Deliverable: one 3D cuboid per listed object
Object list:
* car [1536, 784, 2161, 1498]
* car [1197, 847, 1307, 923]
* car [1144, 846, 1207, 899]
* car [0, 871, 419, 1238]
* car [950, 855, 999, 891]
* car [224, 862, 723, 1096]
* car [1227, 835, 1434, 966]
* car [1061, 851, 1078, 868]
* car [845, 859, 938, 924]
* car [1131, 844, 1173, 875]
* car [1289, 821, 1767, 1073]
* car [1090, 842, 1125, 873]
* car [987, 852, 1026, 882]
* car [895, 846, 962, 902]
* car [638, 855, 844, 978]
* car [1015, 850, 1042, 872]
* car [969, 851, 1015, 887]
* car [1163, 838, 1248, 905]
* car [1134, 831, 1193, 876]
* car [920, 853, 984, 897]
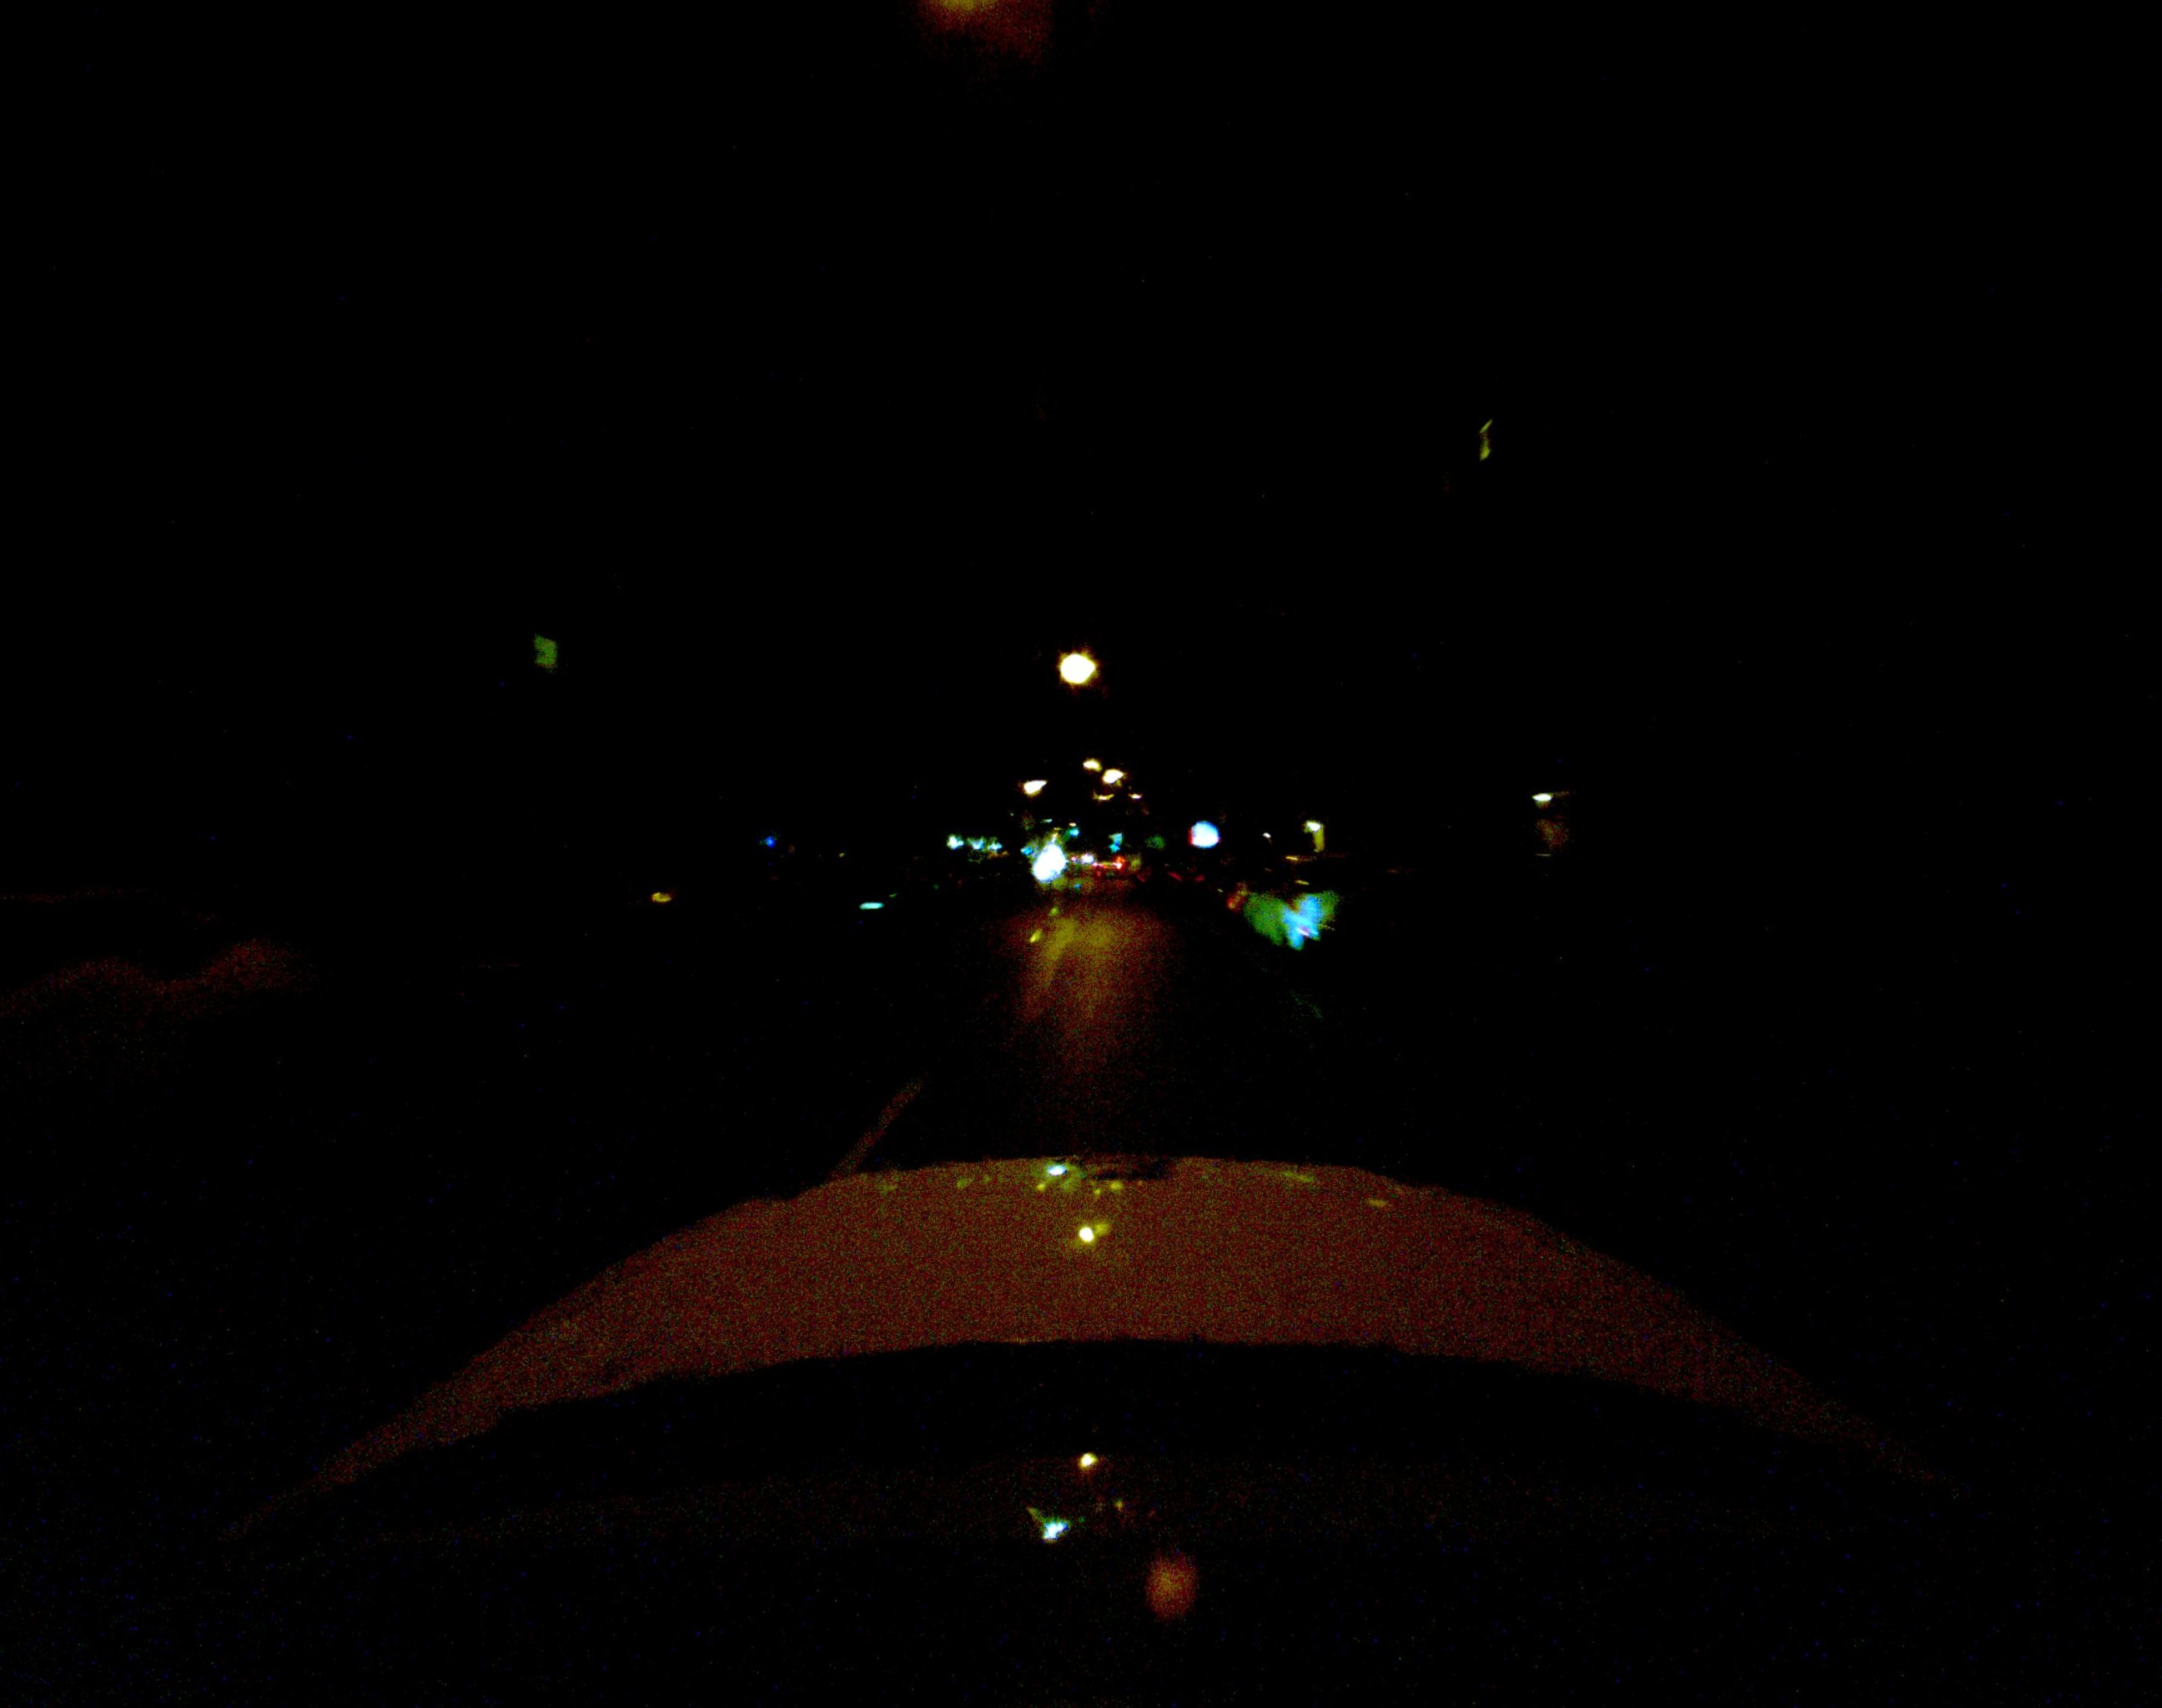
[{"bbox_3d":[3.122,0.553,1.801,1.790,1.491,4.126,-4,0,-1],"label":"car"},{"bbox_3d":[3.428,0.570,16.917,1.451,1.306,3.628,-4,0,0],"label":"car"},{"bbox_3d":[3.109,0.554,27.615,1.817,1.547,4.357,-4,0,4],"label":"car"},{"bbox_3d":[-5.593,0.983,3.469,1.659,1.539,4.394,-6,0,3],"label":"car"},{"bbox_3d":[-4.804,0.829,37.300,1.593,1.431,4.004,-6,0,0],"label":"car"},{"bbox_3d":[-5.520,0.958,8.308,1.661,1.539,4.390,-6,0,0],"label":"car"},{"bbox_3d":[3.444,0.559,12.127,1.669,1.487,4.279,-4,0,0],"label":"car"},{"bbox_3d":[-1.567,0.749,110.349,2.029,1.953,5.196,-5,1,-2],"label":"car"},{"bbox_3d":[-5.044,0.954,22.074,1.426,1.460,3.376,-6,0,3],"label":"car"},{"bbox_3d":[3.732,0.266,43.281,1.816,1.422,4.489,-4,0,1],"label":"car"},{"bbox_3d":[3.333,0.568,7.202,1.790,1.447,4.279,-4,0,0],"label":"car"},{"bbox_3d":[1.763,0.232,55.157,2.160,1.972,4.303,-2,0,1],"label":"car"},{"bbox_3d":[-4.307,0.726,47.605,1.592,1.486,4.276,-6,0,2],"label":"car"},{"bbox_3d":[-5.027,0.630,27.282,1.469,1.619,3.373,-6,0,0],"label":"car"},{"bbox_3d":[-5.521,0.906,13.919,1.743,1.597,4.385,-6,0,-3],"label":"car"},{"bbox_3d":[-4.043,0.515,63.361,1.592,1.564,4.381,-6,0,2],"label":"car"},{"bbox_3d":[-4.526,0.711,41.894,1.592,1.605,4.260,-6,0,2],"label":"car"},{"bbox_3d":[3.343,0.418,22.705,1.747,1.547,4.981,-4,0,3],"label":"car"},{"bbox_3d":[3.190,-0.037,32.453,1.793,1.530,5.052,-4,0,1],"label":"car"},{"bbox_3d":[-5.060,0.787,32.486,1.632,1.456,4.933,-6,0,0],"label":"car"}]
